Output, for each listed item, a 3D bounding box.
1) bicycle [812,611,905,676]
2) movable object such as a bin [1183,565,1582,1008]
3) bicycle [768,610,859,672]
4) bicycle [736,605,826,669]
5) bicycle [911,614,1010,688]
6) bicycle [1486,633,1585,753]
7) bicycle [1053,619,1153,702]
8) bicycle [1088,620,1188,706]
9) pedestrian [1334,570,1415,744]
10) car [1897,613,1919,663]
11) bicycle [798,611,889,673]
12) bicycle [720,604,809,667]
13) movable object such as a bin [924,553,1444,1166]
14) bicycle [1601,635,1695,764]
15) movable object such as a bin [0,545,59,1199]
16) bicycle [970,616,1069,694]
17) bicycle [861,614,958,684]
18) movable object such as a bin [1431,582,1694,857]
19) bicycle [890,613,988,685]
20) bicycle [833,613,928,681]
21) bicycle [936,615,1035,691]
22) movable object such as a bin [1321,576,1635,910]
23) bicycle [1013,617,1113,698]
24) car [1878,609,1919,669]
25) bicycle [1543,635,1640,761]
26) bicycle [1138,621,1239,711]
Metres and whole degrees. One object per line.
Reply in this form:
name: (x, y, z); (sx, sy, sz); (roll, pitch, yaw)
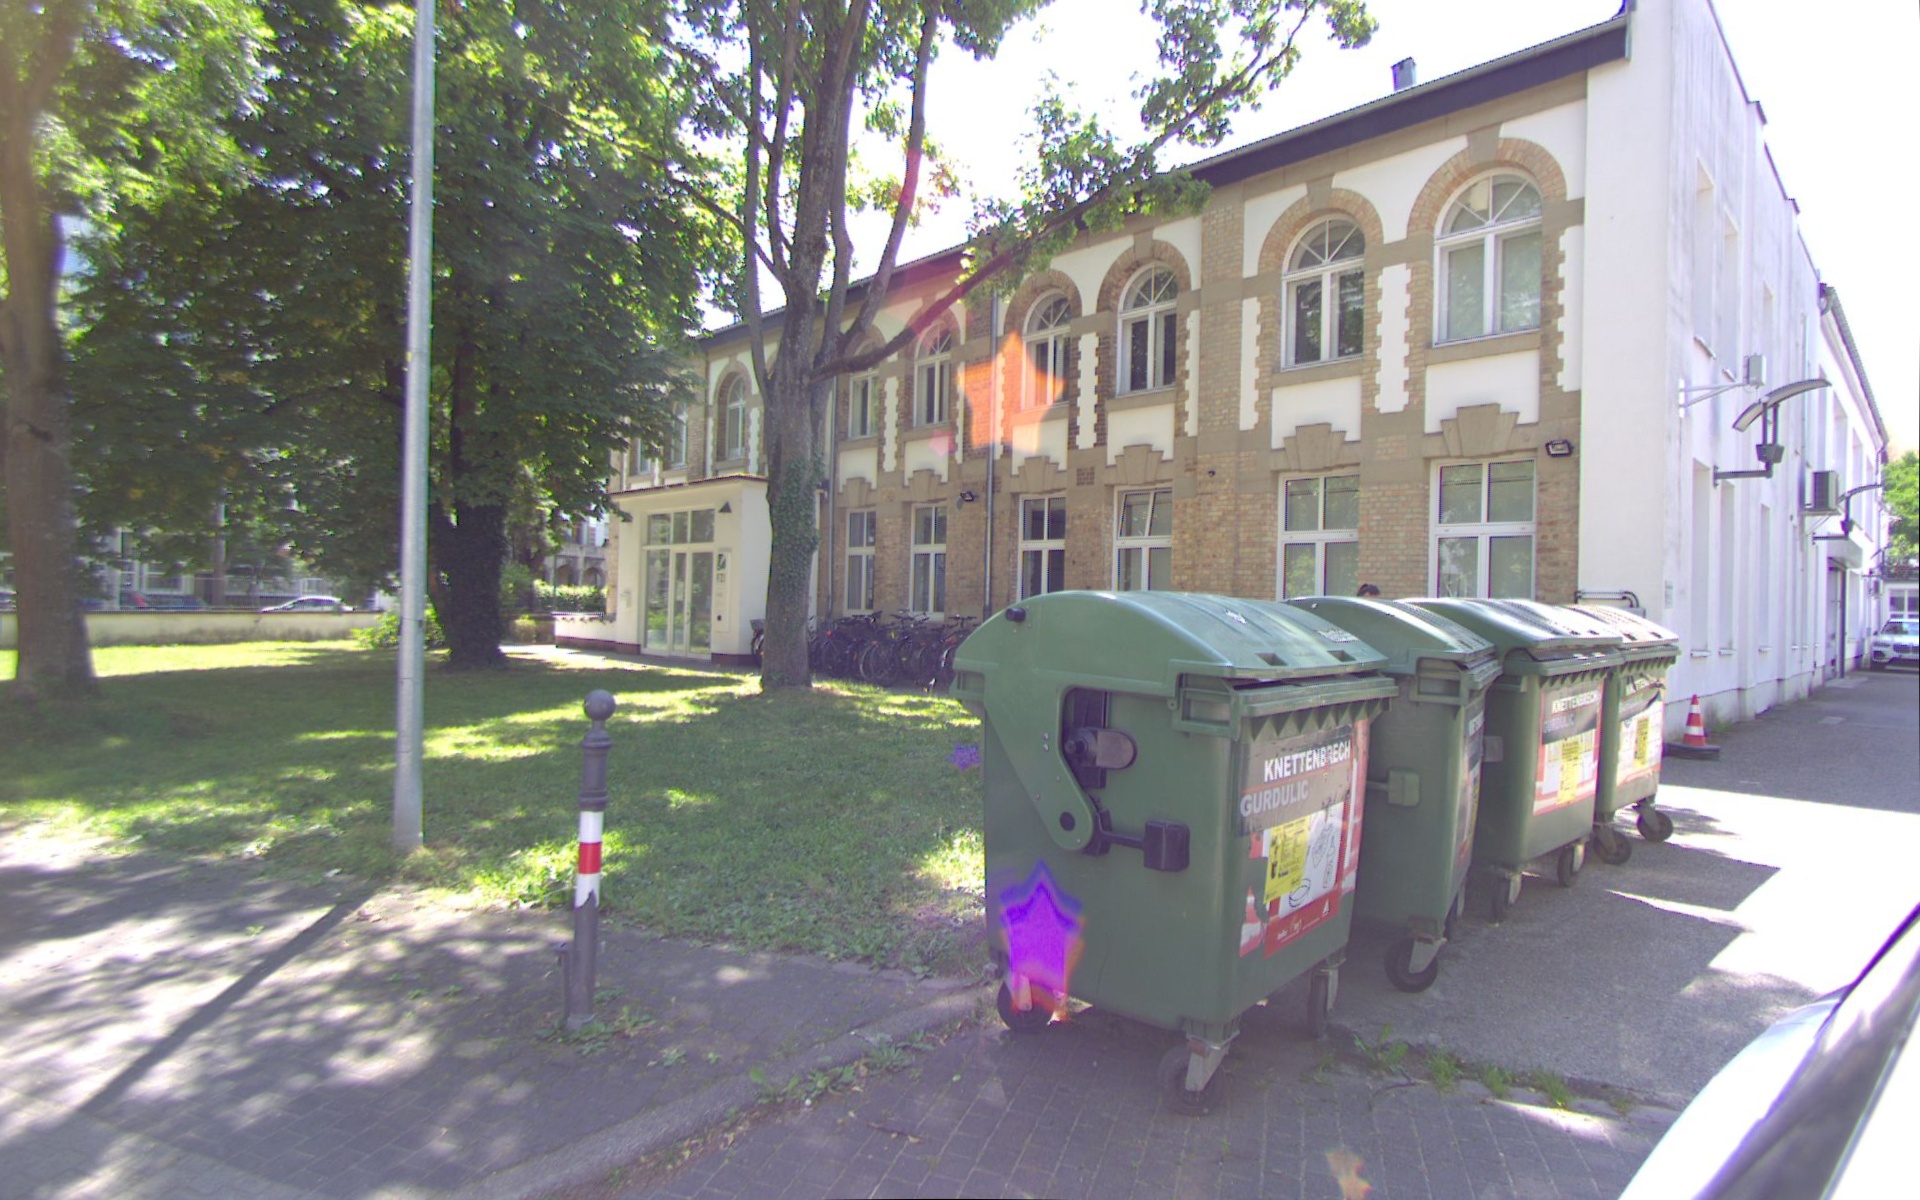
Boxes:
bicycle: (-1.820, 0.771, 18.355); (1.796, 1.115, 0.405); (1, 0, -44)
movable object such as a bin: (1.787, 0.620, 4.244); (1.354, 1.476, 1.076); (1, 0, -43)
bicycle: (-2.756, 0.750, 19.157); (1.796, 1.115, 0.405); (1, 0, -44)
bicycle: (-3.445, 0.693, 19.604); (1.797, 1.115, 0.405); (-3, 3, -44)
bicycle: (0.034, 0.790, 16.209); (1.796, 1.115, 0.405); (1, 0, -44)
bicycle: (6.017, 0.925, 10.533); (1.796, 1.115, 0.405); (1, 0, -44)
bicycle: (2.071, 0.835, 14.489); (1.796, 1.115, 0.405); (1, 0, -44)
bicycle: (2.507, 0.844, 14.114); (1.796, 1.115, 0.405); (1, 0, -44)
pedestrian: (4.403, 0.579, 10.751); (0.677, 1.771, 0.551); (1, 0, -43)
car: (37.440, 1.452, 38.777); (4.649, 1.826, 2.008); (1, 0, -44)
bicycle: (-2.157, 0.762, 18.914); (1.796, 1.115, 0.405); (1, 0, -44)
bicycle: (-3.878, 0.682, 20.215); (1.797, 1.115, 0.405); (-3, 3, -44)
movable object such as a bin: (0.750, 0.622, 3.306); (1.354, 1.476, 1.076); (1, 0, -43)
bicycle: (6.706, 0.917, 9.830); (1.796, 1.115, 0.405); (1, 0, -44)
movable object such as a bin: (-1.909, 0.662, 1.098); (1.354, 1.476, 1.076); (1, 0, -43)
bicycle: (0.931, 0.810, 15.435); (1.796, 1.115, 0.405); (1, 0, -44)
bicycle: (-0.825, 0.795, 16.983); (1.796, 1.115, 0.405); (1, 0, -44)
movable object such as a bin: (3.772, 0.642, 6.318); (1.354, 1.476, 1.076); (1, 0, -43)
bicycle: (-0.318, 0.782, 16.595); (1.796, 1.115, 0.405); (1, 0, -44)
bicycle: (-1.352, 0.783, 17.534); (1.796, 1.115, 0.405); (1, 0, -44)
bicycle: (0.419, 0.799, 15.836); (1.796, 1.115, 0.405); (1, 0, -44)
movable object such as a bin: (2.745, 0.630, 5.338); (1.354, 1.476, 1.076); (1, 0, -43)
bicycle: (1.553, 0.823, 14.977); (1.796, 1.115, 0.405); (1, 0, -44)
car: (31.240, 1.223, 32.740); (4.649, 1.826, 2.008); (1, 0, -44)
bicycle: (6.348, 0.932, 10.135); (1.796, 1.115, 0.405); (1, 0, -44)
bicycle: (3.102, 0.857, 13.612); (1.796, 1.115, 0.405); (1, 0, -44)
